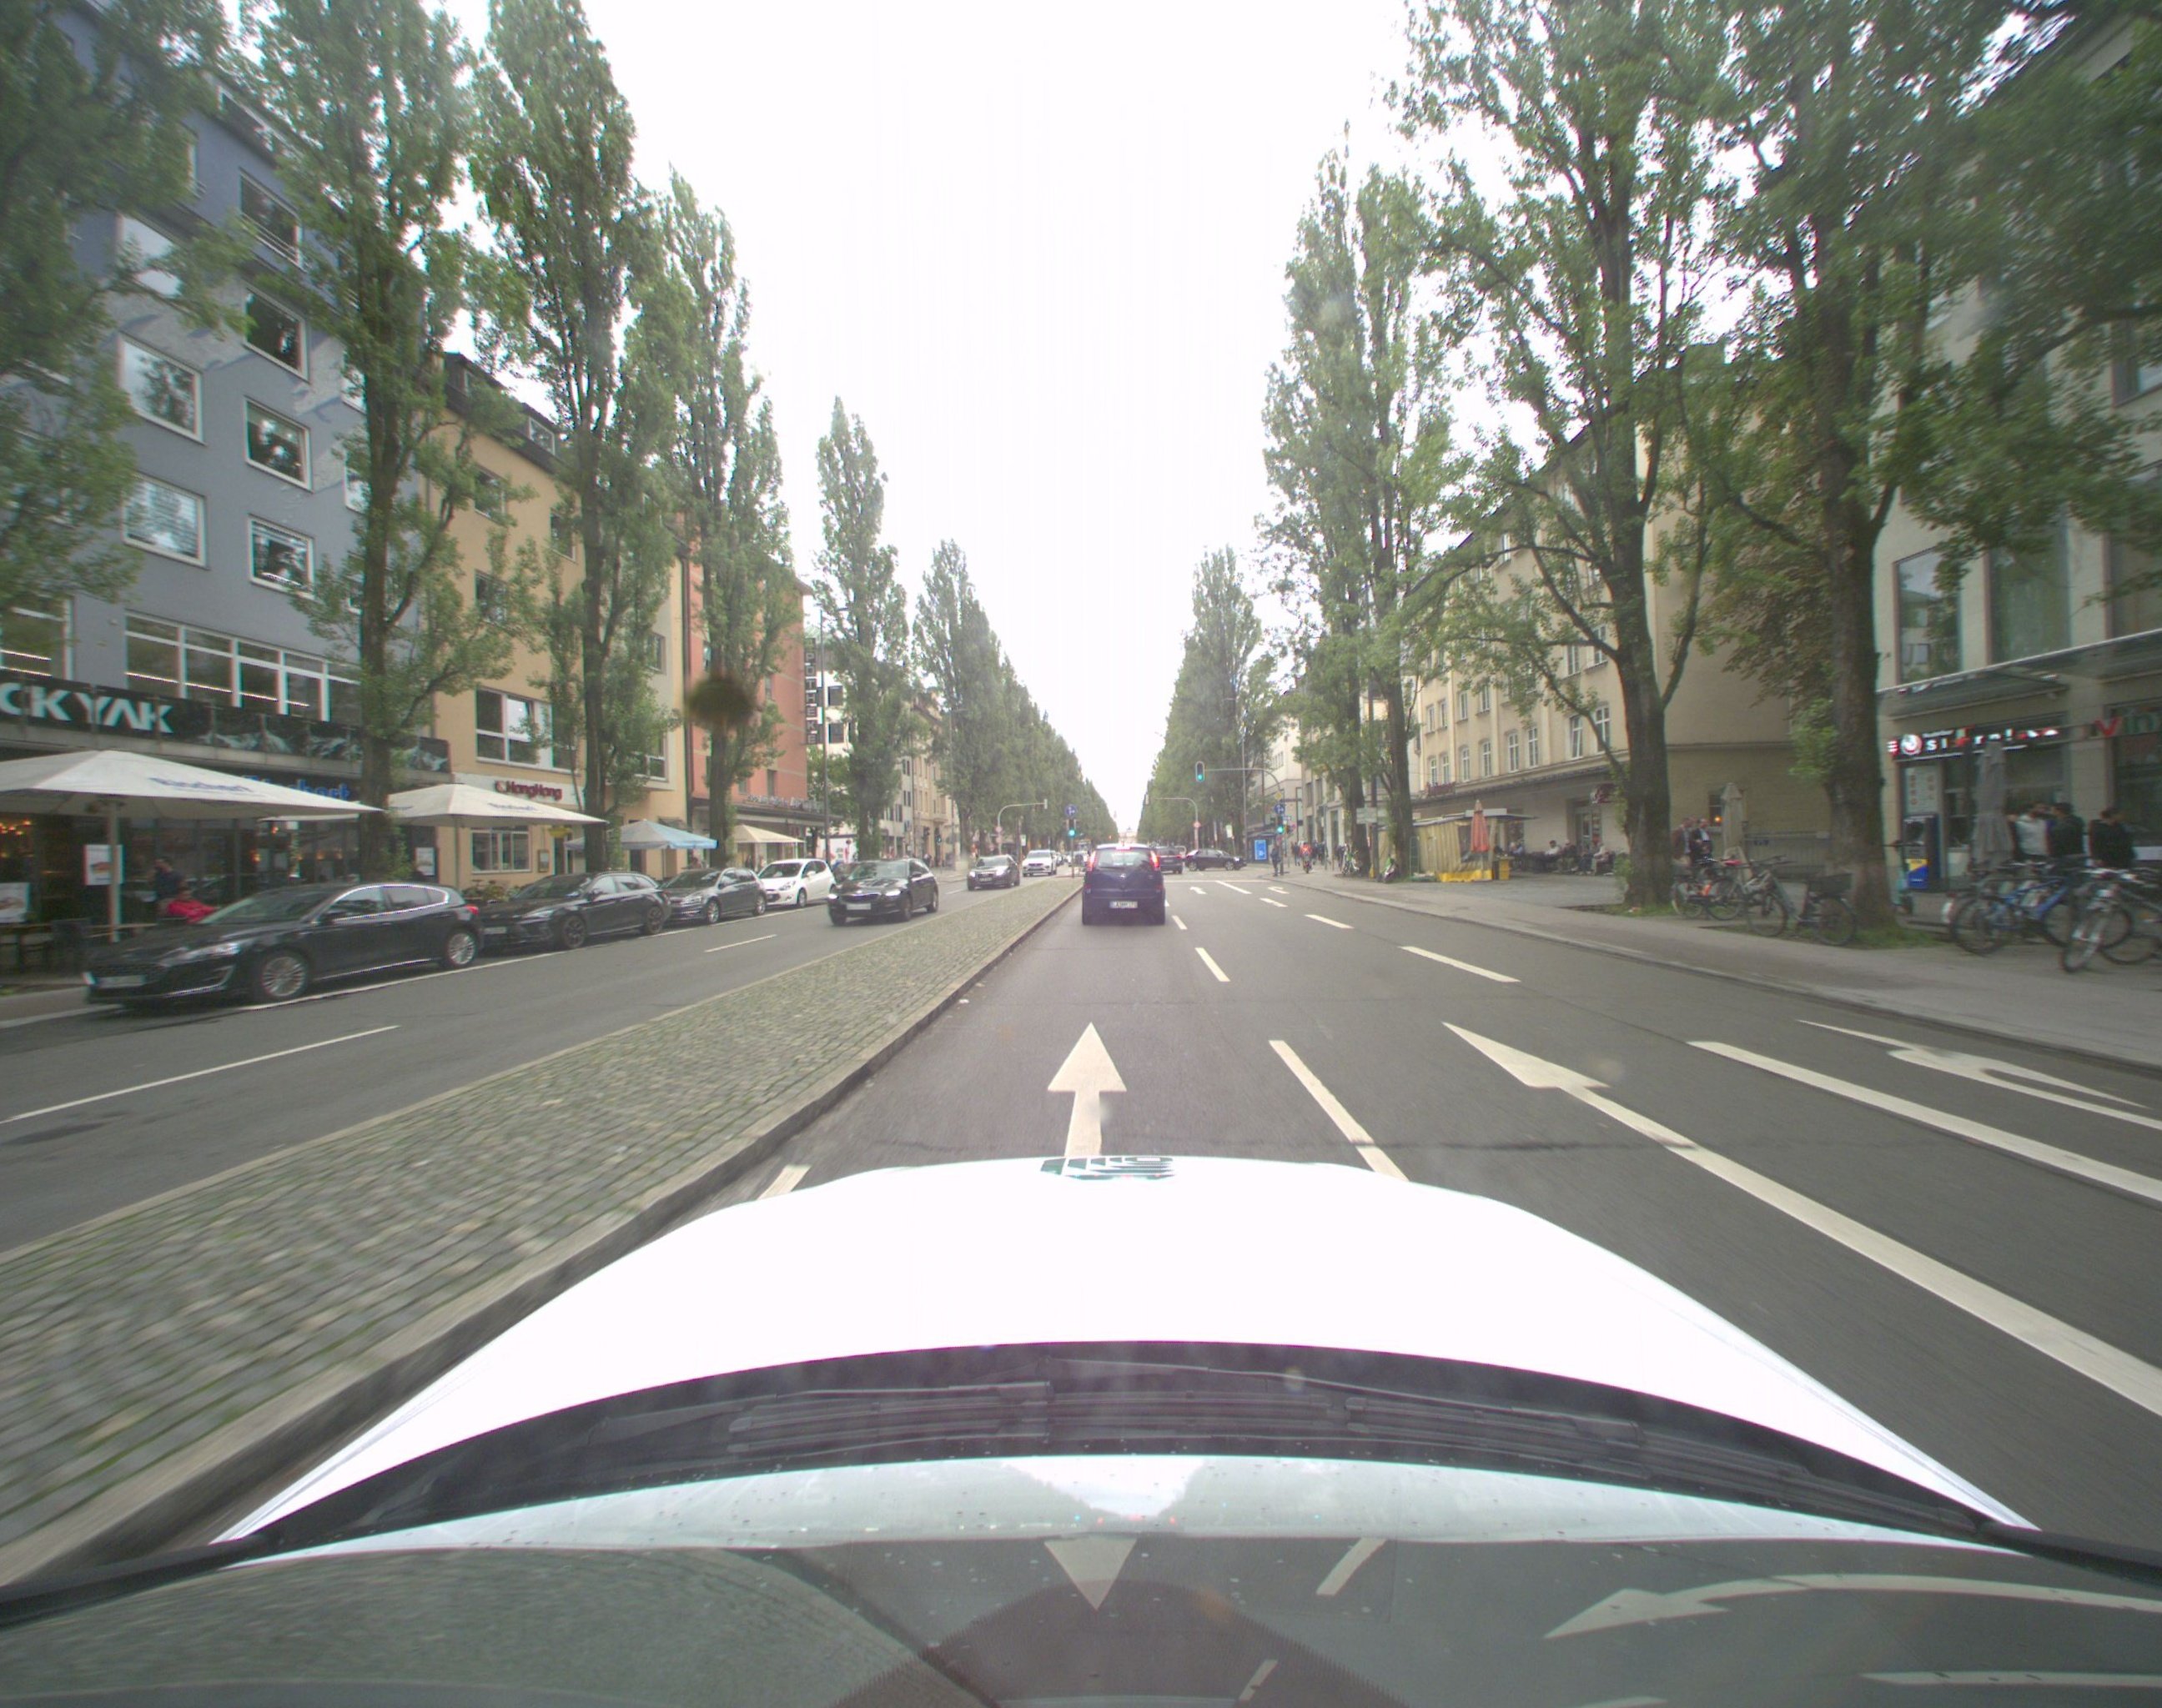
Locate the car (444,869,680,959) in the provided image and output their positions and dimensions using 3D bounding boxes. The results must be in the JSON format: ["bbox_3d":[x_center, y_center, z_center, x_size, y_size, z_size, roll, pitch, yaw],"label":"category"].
[{"bbox_3d":[-10.220,1.101,16.532,1.696,1.412,4.438,-3,0,3],"label":"car"}]

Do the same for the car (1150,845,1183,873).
[{"bbox_3d":[5.122,0.270,49.243,1.699,1.574,4.003,-2,0,3],"label":"car"}]

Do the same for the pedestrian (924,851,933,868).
[{"bbox_3d":[-16.608,0.620,88.911,0.696,1.787,0.821,-2,0,4],"label":"pedestrian"}]

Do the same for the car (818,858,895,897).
[{"bbox_3d":[-9.401,0.949,34.535,1.696,1.438,4.594,-3,0,3],"label":"car"}]

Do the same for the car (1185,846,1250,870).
[{"bbox_3d":[9.273,0.286,55.455,3.949,1.461,1.770,-2,0,29],"label":"car"}]

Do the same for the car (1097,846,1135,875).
[{"bbox_3d":[1.950,0.340,45.285,1.985,1.497,4.003,-2,0,2],"label":"car"}]

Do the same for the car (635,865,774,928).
[{"bbox_3d":[-9.865,1.050,21.695,1.487,1.381,4.190,-3,0,3],"label":"car"}]

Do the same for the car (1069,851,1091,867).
[{"bbox_3d":[-0.067,0.470,81.598,1.836,1.501,4.990,-3,0,3],"label":"car"}]

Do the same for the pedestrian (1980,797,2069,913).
[{"bbox_3d":[15.328,0.013,13.247,0.619,1.819,0.692,-2,0,2],"label":"pedestrian"}]

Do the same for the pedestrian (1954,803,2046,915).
[{"bbox_3d":[14.600,0.076,12.956,0.654,1.710,0.692,-2,0,2],"label":"pedestrian"}]

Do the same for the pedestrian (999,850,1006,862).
[{"bbox_3d":[-11.276,0.318,116.748,0.731,1.673,0.953,-2,0,3],"label":"pedestrian"}]

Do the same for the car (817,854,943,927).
[{"bbox_3d":[-4.678,0.777,19.569,1.749,1.465,4.053,-4,0,3],"label":"car"}]

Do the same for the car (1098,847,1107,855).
[{"bbox_3d":[4.908,-0.648,182.858,1.905,1.680,4.590,-2,0,3],"label":"car"}]

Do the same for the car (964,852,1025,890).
[{"bbox_3d":[-3.610,0.676,34.665,1.828,1.361,4.180,-4,0,4],"label":"car"}]

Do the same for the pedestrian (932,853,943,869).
[{"bbox_3d":[-14.635,0.681,83.053,0.775,1.618,0.935,-2,0,3],"label":"pedestrian"}]

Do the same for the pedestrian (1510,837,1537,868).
[{"bbox_3d":[18.812,-0.075,34.615,0.772,1.264,0.700,-2,0,4],"label":"pedestrian"}]

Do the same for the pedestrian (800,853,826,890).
[{"bbox_3d":[-13.196,0.839,40.119,0.729,1.796,0.998,-1,0,21],"label":"pedestrian"}]

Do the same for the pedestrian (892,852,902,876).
[{"bbox_3d":[-13.360,0.711,59.114,0.584,1.691,0.514,-2,0,3],"label":"pedestrian"}]

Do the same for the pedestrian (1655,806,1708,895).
[{"bbox_3d":[13.701,-0.077,18.590,0.653,1.971,0.723,-2,0,6],"label":"pedestrian"}]

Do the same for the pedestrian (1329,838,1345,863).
[{"bbox_3d":[16.925,-0.220,53.853,0.746,1.636,0.735,-3,-2,5],"label":"pedestrian"}]

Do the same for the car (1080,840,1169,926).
[{"bbox_3d":[0.927,0.538,17.639,1.674,1.641,4.003,-1,0,2],"label":"car"}]

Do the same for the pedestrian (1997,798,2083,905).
[{"bbox_3d":[16.544,-0.042,14.069,0.653,1.784,0.675,-2,0,4],"label":"pedestrian"}]

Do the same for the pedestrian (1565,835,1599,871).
[{"bbox_3d":[18.010,-0.050,29.288,0.772,1.264,0.700,-2,0,4],"label":"pedestrian"}]

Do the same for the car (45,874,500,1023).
[{"bbox_3d":[-10.522,1.104,11.202,1.670,1.466,4.374,-3,0,3],"label":"car"}]

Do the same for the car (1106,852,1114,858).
[{"bbox_3d":[7.675,0.227,217.048,1.927,1.623,4.340,-4,0,3],"label":"car"}]

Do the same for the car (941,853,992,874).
[{"bbox_3d":[-8.843,0.748,62.795,3.699,1.475,1.763,-2,0,-16],"label":"car"}]

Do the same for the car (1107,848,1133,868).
[{"bbox_3d":[3.144,0.289,65.745,1.985,1.497,4.003,-2,0,2],"label":"car"}]

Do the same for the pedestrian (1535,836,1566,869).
[{"bbox_3d":[18.388,-0.071,31.912,0.772,1.264,0.700,-2,0,4],"label":"pedestrian"}]

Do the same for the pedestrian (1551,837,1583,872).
[{"bbox_3d":[18.091,0.033,30.310,0.772,1.264,0.700,-2,0,4],"label":"pedestrian"}]

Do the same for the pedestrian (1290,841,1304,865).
[{"bbox_3d":[16.554,-0.086,62.315,0.815,1.818,0.891,-1,0,2],"label":"pedestrian"}]

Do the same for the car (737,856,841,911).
[{"bbox_3d":[-9.583,0.908,27.060,1.696,1.583,4.099,-3,0,3],"label":"car"}]

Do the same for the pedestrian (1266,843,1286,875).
[{"bbox_3d":[10.029,0.251,41.937,0.763,1.609,0.864,-2,0,-1],"label":"pedestrian"}]

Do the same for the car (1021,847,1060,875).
[{"bbox_3d":[-2.527,0.394,52.216,1.835,1.636,4.581,-3,0,4],"label":"car"}]

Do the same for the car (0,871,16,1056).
[{"bbox_3d":[-10.936,1.045,5.284,1.771,1.680,4.592,-3,0,5],"label":"car"}]

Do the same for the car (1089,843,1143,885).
[{"bbox_3d":[1.422,0.365,32.778,1.985,1.497,4.003,-2,0,2],"label":"car"}]

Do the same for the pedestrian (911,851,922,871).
[{"bbox_3d":[-15.090,0.665,74.621,0.796,1.787,0.913,0,0,3],"label":"pedestrian"}]

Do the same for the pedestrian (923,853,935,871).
[{"bbox_3d":[-13.310,0.695,71.253,0.747,1.567,0.990,-2,0,2],"label":"pedestrian"}]

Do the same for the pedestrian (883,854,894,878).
[{"bbox_3d":[-13.827,0.846,58.527,0.626,1.688,0.520,0,0,4],"label":"pedestrian"}]

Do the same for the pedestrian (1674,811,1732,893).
[{"bbox_3d":[14.441,-0.053,18.932,0.653,1.850,0.907,-2,0,5],"label":"pedestrian"}]
